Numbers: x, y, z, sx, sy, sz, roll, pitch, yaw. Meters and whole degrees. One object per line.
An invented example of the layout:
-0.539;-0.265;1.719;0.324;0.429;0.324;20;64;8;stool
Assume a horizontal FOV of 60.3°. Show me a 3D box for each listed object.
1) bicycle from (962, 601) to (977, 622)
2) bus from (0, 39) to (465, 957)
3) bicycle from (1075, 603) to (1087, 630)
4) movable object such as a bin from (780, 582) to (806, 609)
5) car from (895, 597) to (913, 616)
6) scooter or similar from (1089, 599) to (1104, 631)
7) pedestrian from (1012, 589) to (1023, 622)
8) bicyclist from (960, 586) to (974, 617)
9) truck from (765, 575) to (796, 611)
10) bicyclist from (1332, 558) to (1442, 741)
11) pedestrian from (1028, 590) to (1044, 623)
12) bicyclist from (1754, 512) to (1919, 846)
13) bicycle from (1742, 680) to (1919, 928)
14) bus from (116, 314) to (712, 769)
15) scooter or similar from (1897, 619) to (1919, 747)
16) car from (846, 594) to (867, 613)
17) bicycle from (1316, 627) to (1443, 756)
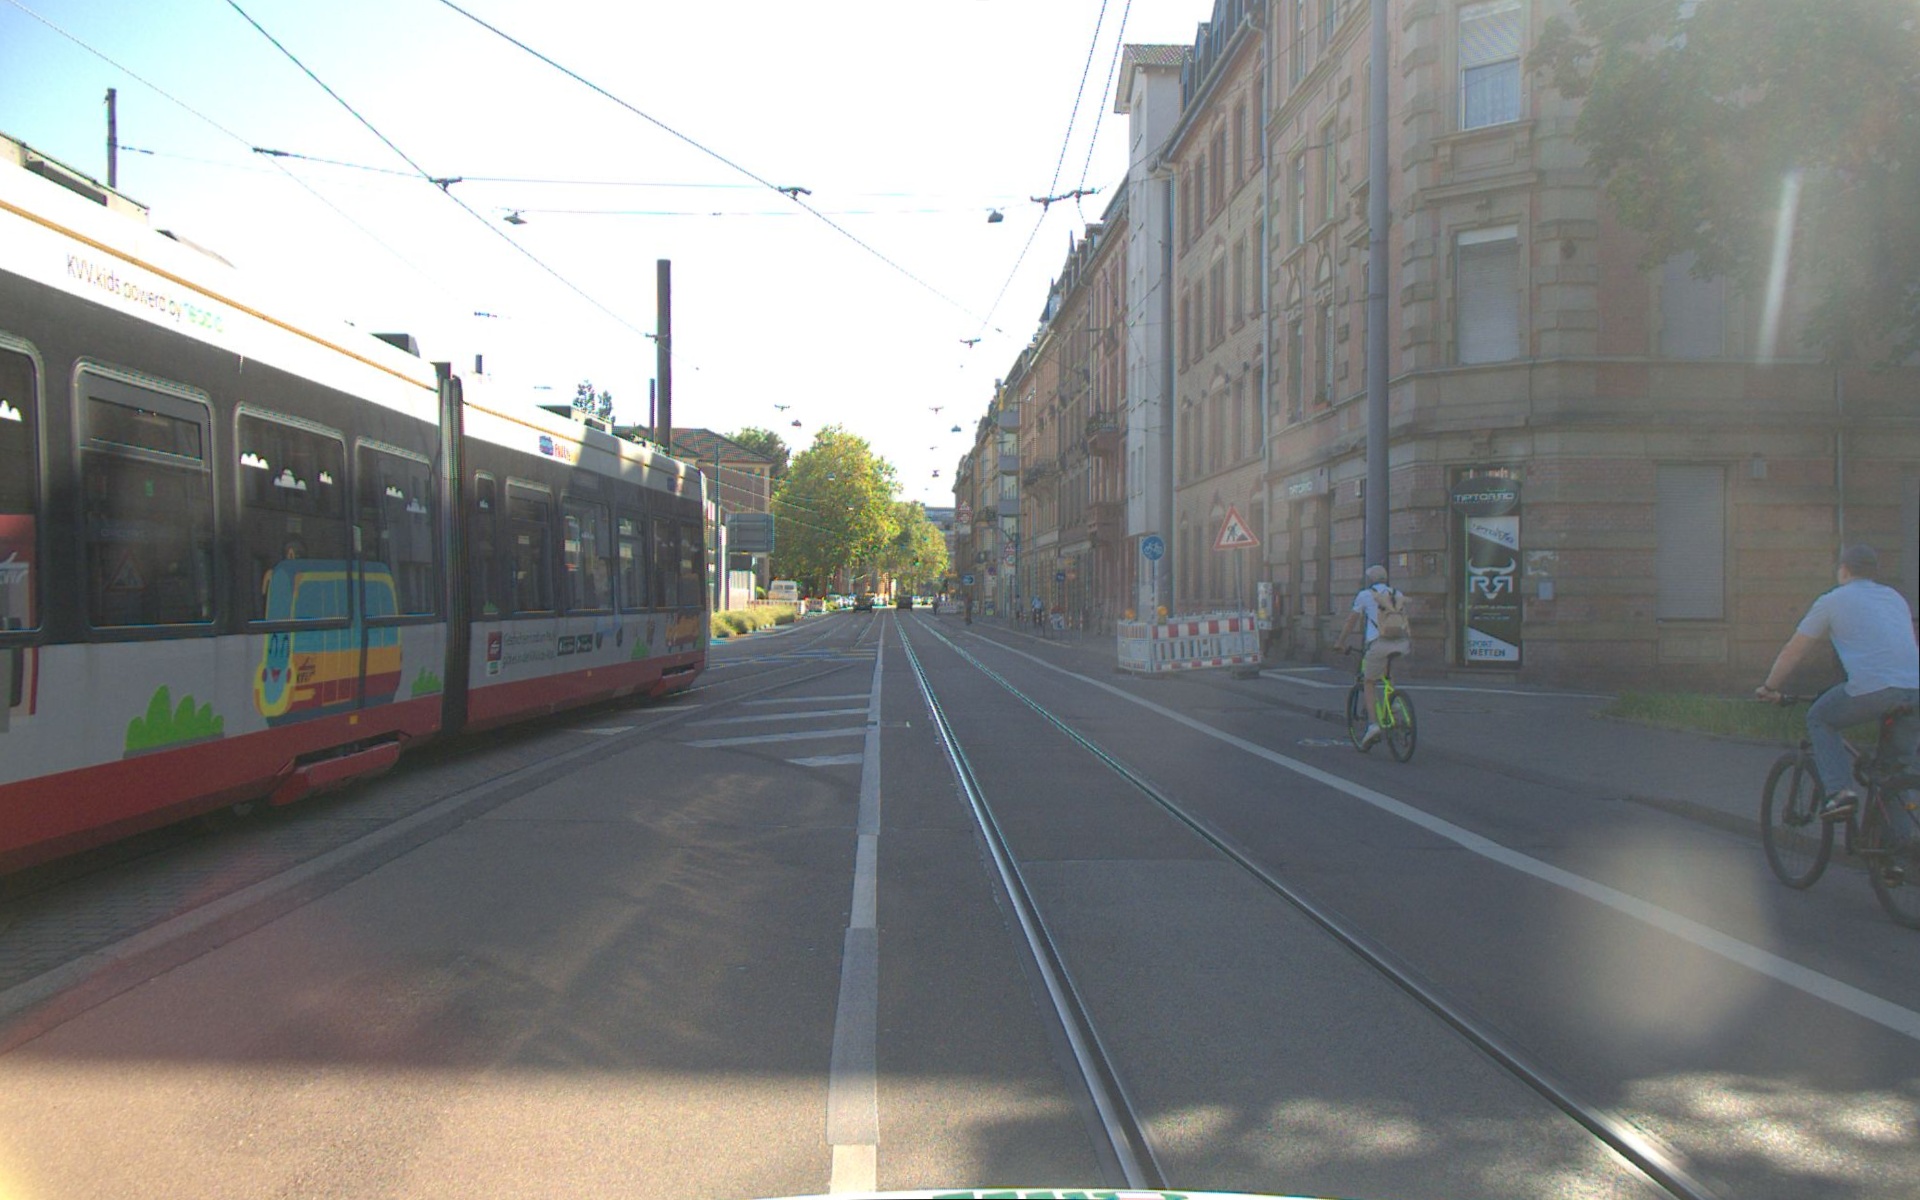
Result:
0.519;0.642;94.258;0.667;1.134;2.705;2;0;-3;bicycle
-5.270;-0.415;8.076;2.784;3.652;10.721;1;0;-2;bus
5.106;0.703;69.862;0.401;1.141;1.898;-1;-1;1;bicycle
-17.201;-0.453;170.683;2.446;2.691;5.982;2;0;-5;movable object such as a bin
-6.271;0.717;184.360;1.953;2.049;3.998;2;-1;-2;car
5.268;0.586;63.761;0.398;1.232;1.479;-1;-1;-2;scooter or similar
2.979;0.283;85.874;0.541;1.730;0.474;-2;-1;4;pedestrian
0.389;0.090;94.340;0.654;1.726;1.042;2;-1;-3;bicyclist
-15.132;-0.530;139.695;2.489;2.880;6.367;2;-1;-6;truck
4.169;0.471;16.198;0.668;1.713;1.119;2;-1;-5;bicyclist
3.783;0.334;82.547;0.782;1.633;0.652;0;-1;-1;pedestrian
4.663;0.383;8.466;0.766;1.621;0.885;0;0;-2;bicyclist
4.680;0.998;8.478;0.378;1.087;1.933;0;0;-2;bicycle
-5.273;-0.480;19.040;2.782;3.652;11.273;1;0;2;bus
9.495;0.807;15.622;0.265;1.241;1.703;2;-1;-2;scooter or similar
-9.706;0.336;155.304;1.723;1.726;4.142;2;-1;-1;car
4.105;0.869;16.328;0.521;1.137;1.931;2;0;-7;bicycle
